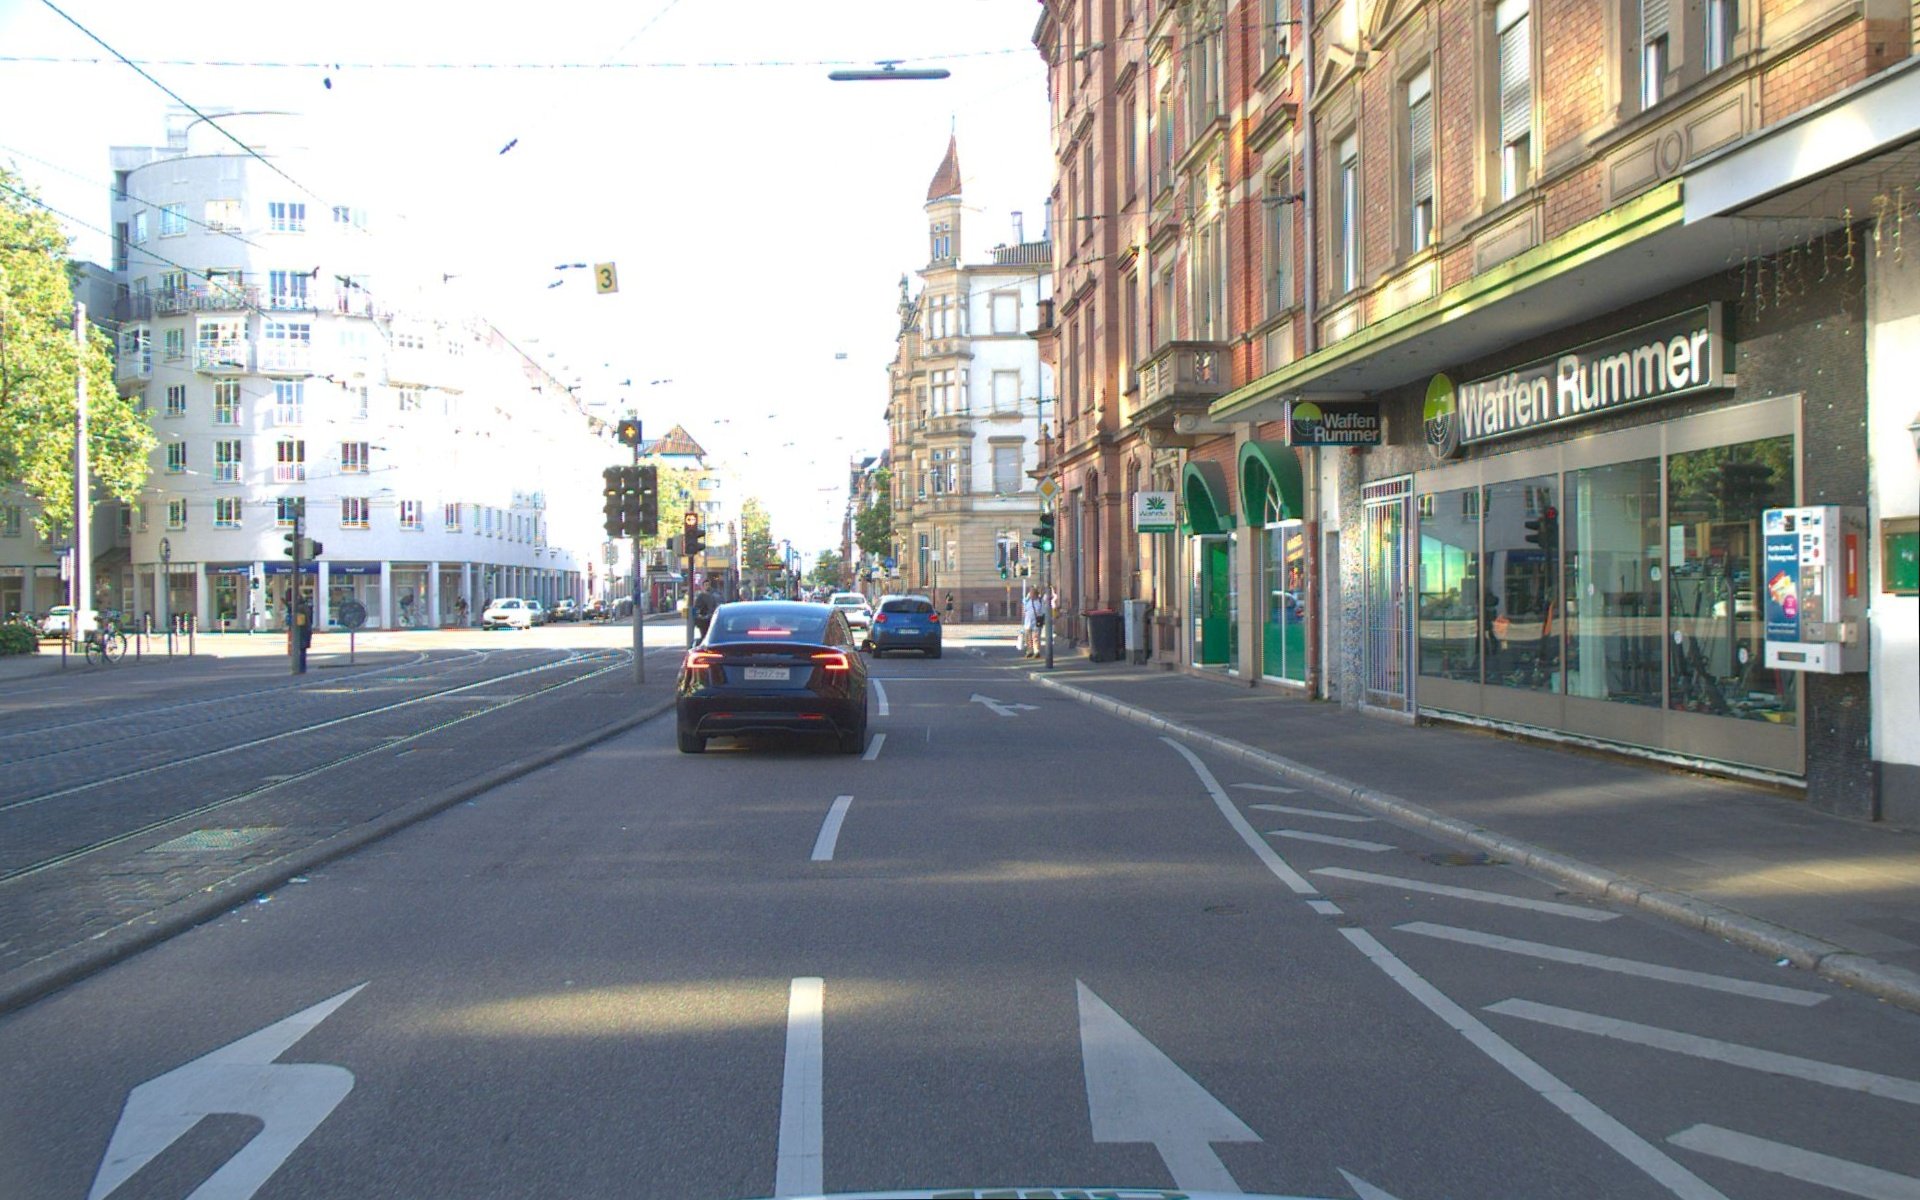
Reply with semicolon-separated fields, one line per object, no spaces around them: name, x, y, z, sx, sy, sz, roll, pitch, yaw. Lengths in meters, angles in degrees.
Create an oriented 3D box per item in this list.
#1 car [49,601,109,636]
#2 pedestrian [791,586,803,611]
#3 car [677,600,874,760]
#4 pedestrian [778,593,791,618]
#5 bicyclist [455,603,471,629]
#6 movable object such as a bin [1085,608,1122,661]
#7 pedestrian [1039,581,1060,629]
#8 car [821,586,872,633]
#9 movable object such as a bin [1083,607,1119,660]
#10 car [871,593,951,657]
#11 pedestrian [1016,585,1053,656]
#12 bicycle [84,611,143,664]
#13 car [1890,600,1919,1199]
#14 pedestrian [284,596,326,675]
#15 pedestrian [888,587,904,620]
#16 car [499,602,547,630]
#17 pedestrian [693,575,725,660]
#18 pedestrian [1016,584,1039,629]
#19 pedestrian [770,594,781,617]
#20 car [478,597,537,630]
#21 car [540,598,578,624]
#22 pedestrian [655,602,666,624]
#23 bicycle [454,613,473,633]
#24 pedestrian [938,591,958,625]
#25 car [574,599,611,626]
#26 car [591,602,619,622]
car;-40.894;0.827;76.817;1.770;1.427;4.081;-1;2;-18
pedestrian;-11.313;-0.085;114.737;0.623;1.727;0.933;1;-1;2
car;-1.875;0.737;17.235;1.775;1.449;4.149;1;0;-5
pedestrian;-12.704;0.424;119.678;0.704;1.808;0.564;-1;0;31
bicyclist;-25.641;0.832;85.309;0.577;1.308;0.926;-1;-1;-5
movable object such as a bin;3.064;0.733;35.325;0.650;1.091;0.590;-4;0;-3
pedestrian;3.371;0.202;62.105;0.630;1.775;0.705;0;-1;16
car;-4.555;0.407;66.187;1.954;1.773;3.996;1;-1;-5
movable object such as a bin;3.054;0.723;35.912;0.650;1.091;0.545;-4;0;-3
car;-1.246;0.573;40.619;1.746;1.476;3.650;1;0;-5
pedestrian;1.742;0.472;38.870;0.669;1.635;0.728;-1;0;-14
bicycle;-20.486;0.898;40.053;0.488;1.207;2.232;-1;0;-6
car;3.044;0.760;1.500;1.657;1.476;4.355;1;0;-5
pedestrian;-13.139;0.703;33.190;0.490;1.544;0.858;-2;0;-5
pedestrian;-3.517;0.191;90.632;0.765;1.780;1.091;0;2;-8
car;-24.581;0.871;93.139;1.955;1.477;4.643;-1;0;-7
pedestrian;-5.437;0.364;35.824;0.547;1.794;0.894;-2;0;-5
pedestrian;2.541;0.251;62.306;0.685;1.684;0.632;-1;-1;17
pedestrian;-13.281;0.395;119.115;0.574;1.589;0.469;-1;0;31
car;-20.981;0.603;76.784;1.955;1.477;4.495;-1;0;-7
car;-26.465;0.764;109.315;1.956;1.624;3.993;-1;-1;-7
pedestrian;-21.974;0.959;121.436;0.717;1.554;0.742;0;1;-6
bicycle;-25.640;1.199;85.449;0.582;0.989;1.816;-1;-1;-4
pedestrian;-0.605;0.404;83.655;0.903;1.660;0.942;-1;-1;3
car;-27.258;0.932;122.837;2.184;1.944;4.603;0;0;-6
car;-27.910;0.935;130.227;1.695;1.541;4.399;0;0;-6
